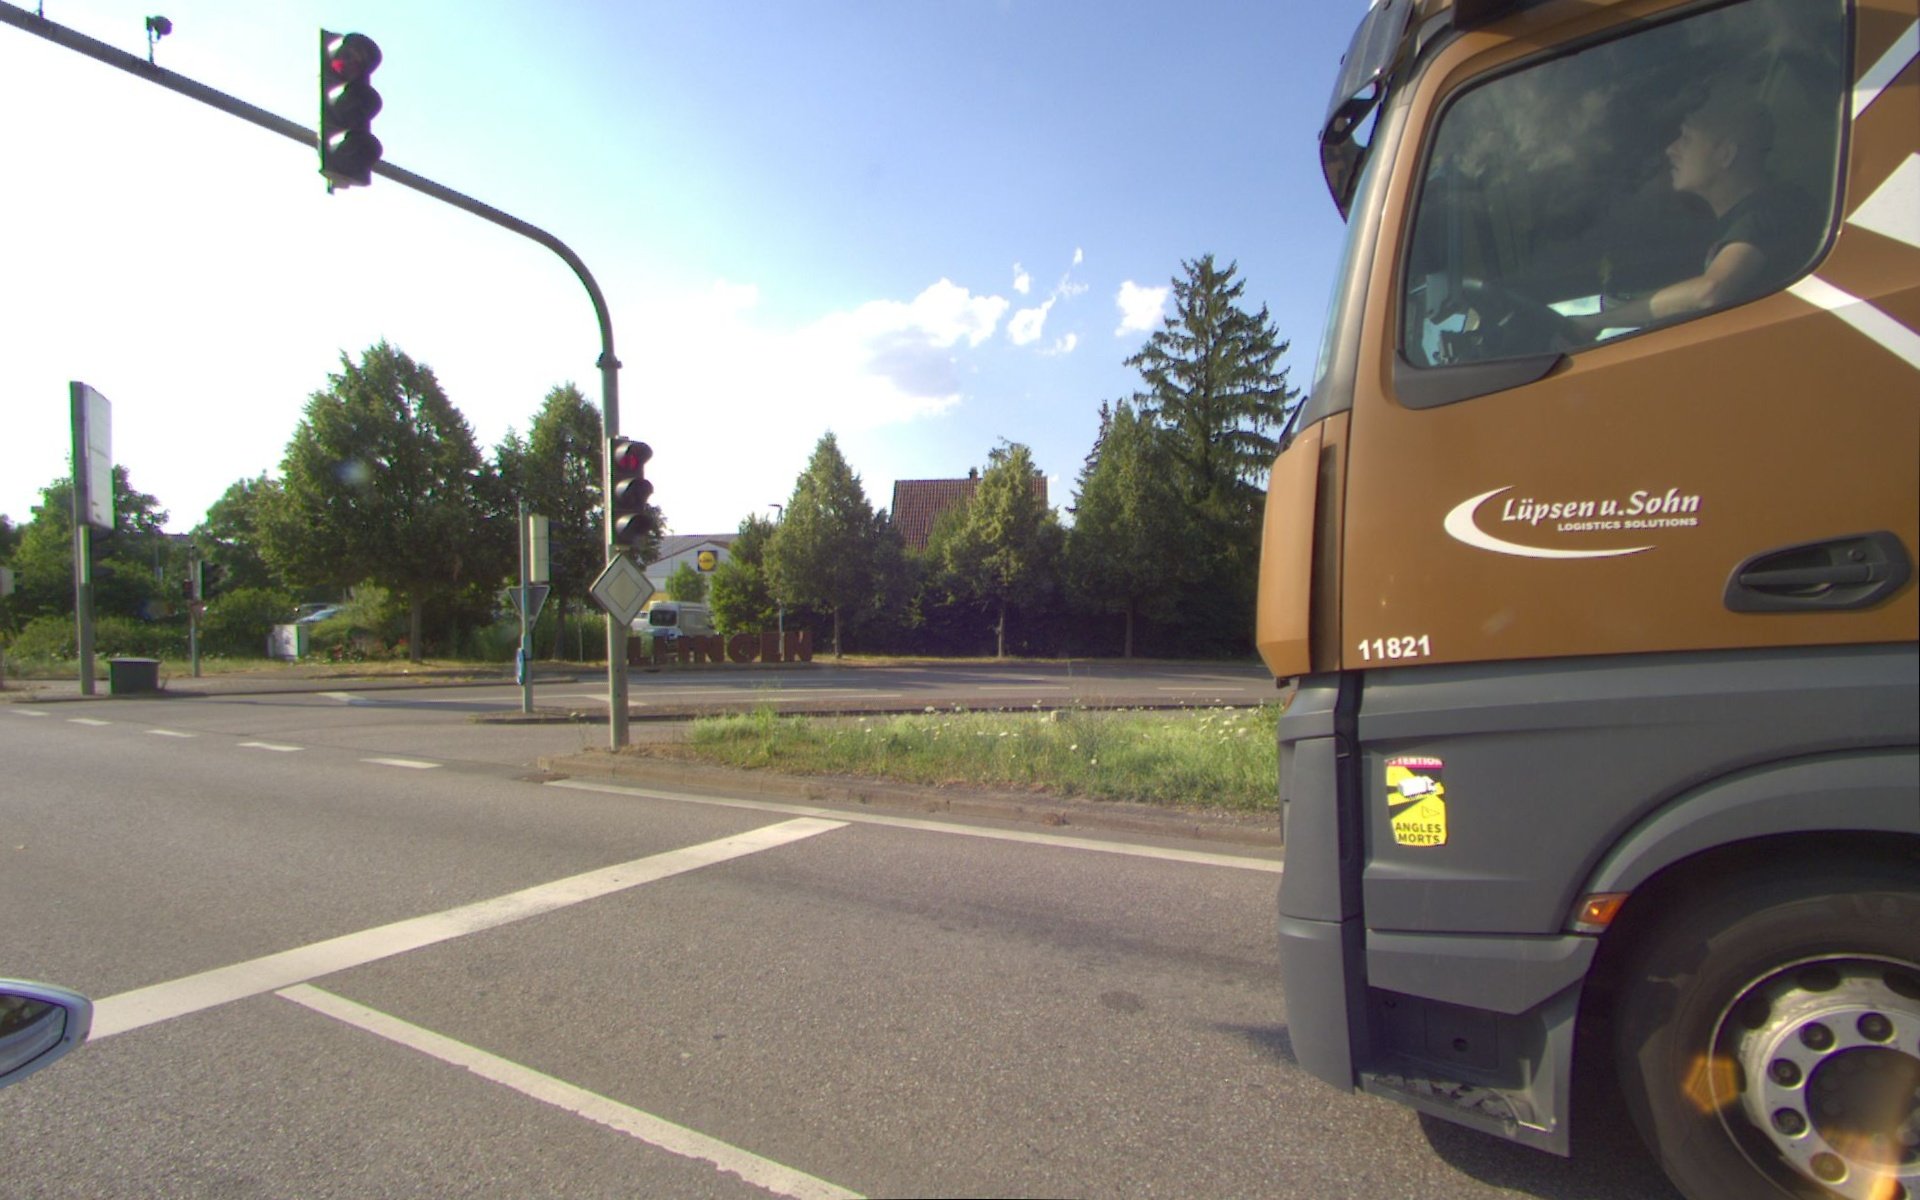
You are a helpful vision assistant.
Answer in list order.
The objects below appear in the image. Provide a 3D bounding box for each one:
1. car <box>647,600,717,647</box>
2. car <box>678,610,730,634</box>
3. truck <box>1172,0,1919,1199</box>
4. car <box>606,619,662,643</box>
[{"bbox_3d":[-15.786,1.383,57.166,1.961,2.538,5.140,-1,-2,8],"label":"car"},{"bbox_3d":[-17.477,1.521,68.545,3.190,1.570,1.566,0,-2,-2],"label":"car"},{"bbox_3d":[4.016,-0.591,2.037,6.570,4.095,2.527,-2,-2,33],"label":"truck"},{"bbox_3d":[-20.777,1.987,63.875,3.071,1.528,1.579,-1,-2,16],"label":"car"}]
